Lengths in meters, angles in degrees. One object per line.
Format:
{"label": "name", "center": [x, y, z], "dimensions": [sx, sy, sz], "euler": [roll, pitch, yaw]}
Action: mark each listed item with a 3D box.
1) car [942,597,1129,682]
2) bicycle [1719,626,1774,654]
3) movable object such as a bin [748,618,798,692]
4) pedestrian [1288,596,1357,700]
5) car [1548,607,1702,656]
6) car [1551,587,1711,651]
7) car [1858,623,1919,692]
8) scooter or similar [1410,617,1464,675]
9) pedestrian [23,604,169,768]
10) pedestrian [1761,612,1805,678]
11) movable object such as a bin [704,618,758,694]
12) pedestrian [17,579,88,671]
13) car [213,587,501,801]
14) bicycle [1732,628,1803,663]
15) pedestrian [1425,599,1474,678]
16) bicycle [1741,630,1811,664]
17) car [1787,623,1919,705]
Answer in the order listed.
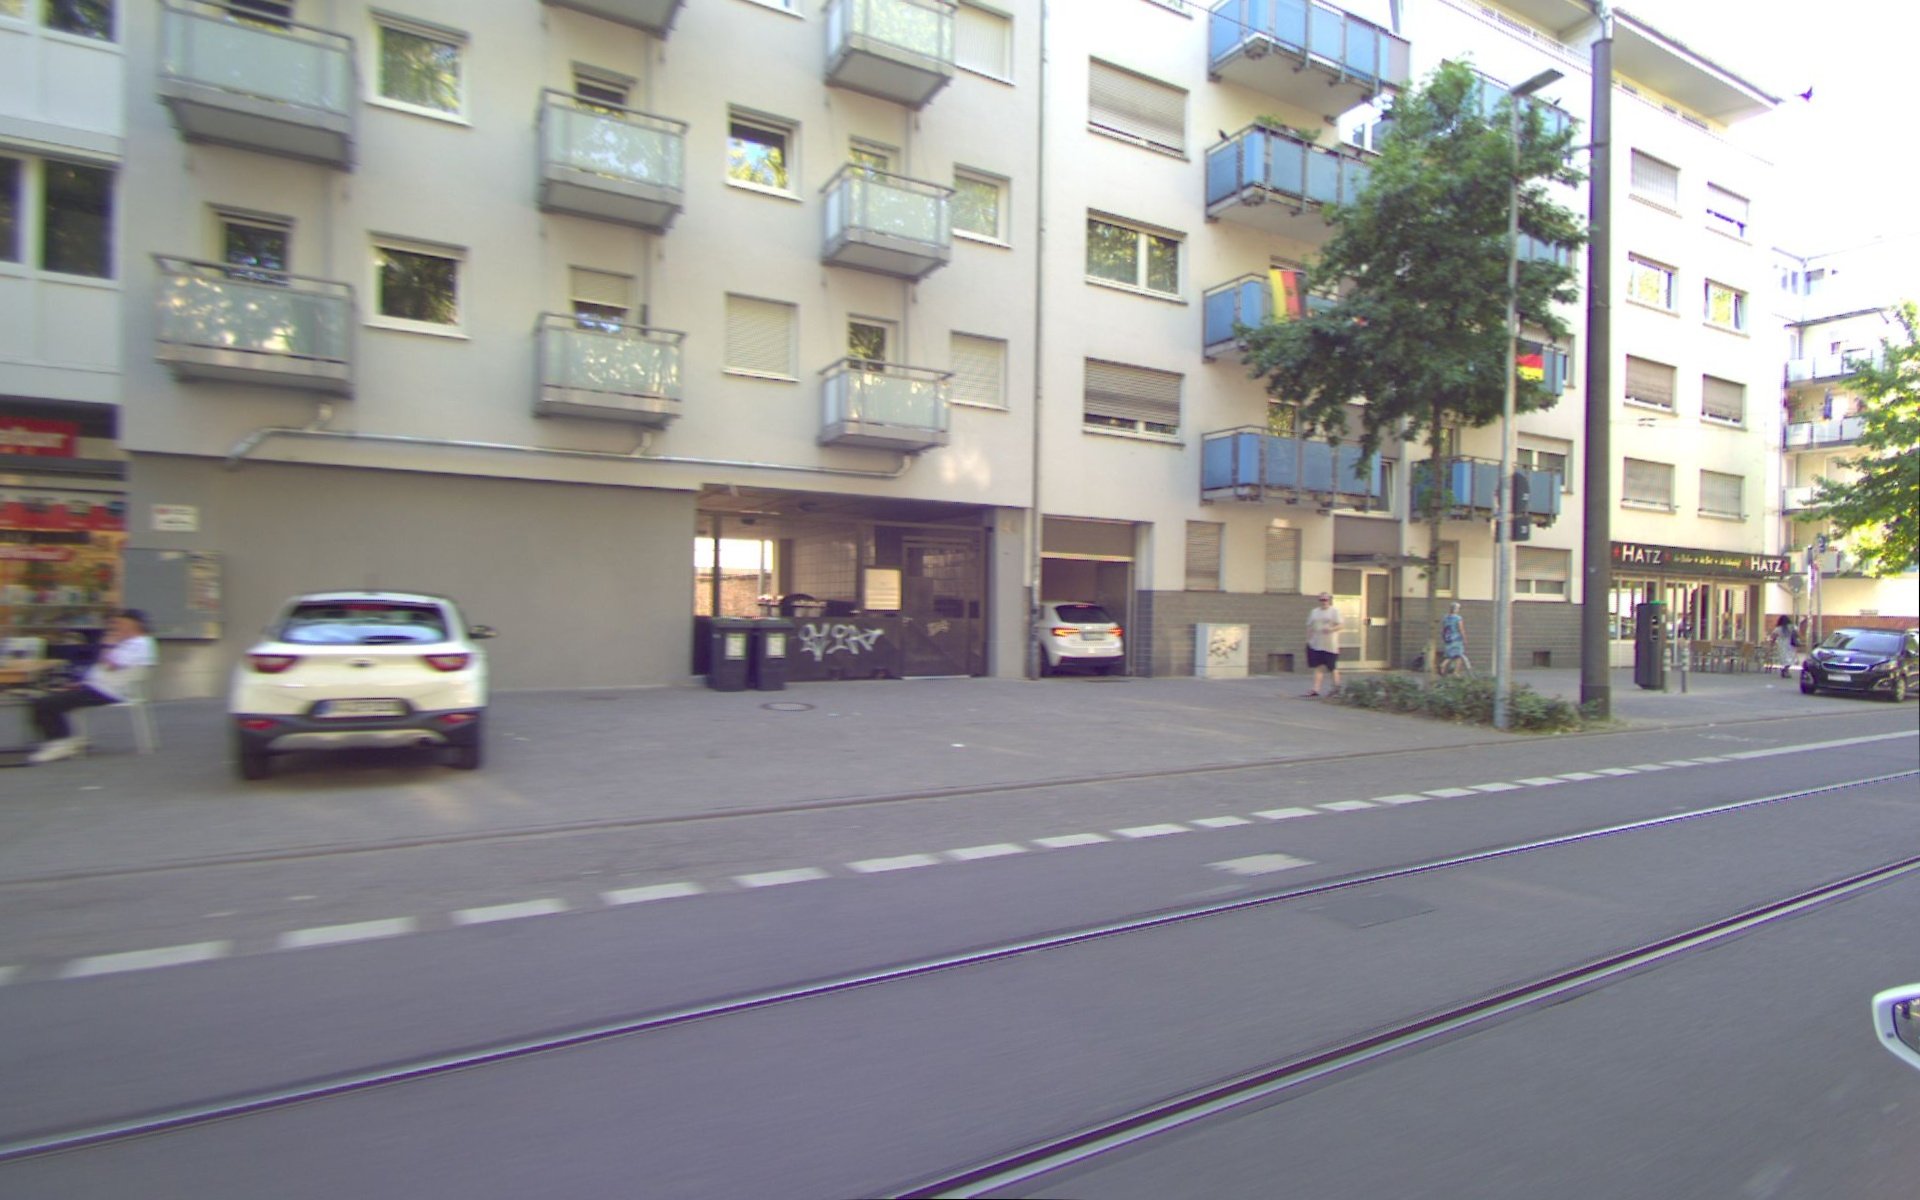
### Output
{"label": "car", "center": [1.427, 0.735, 20.582], "dimensions": [1.831, 1.495, 3.991], "euler": [2, 0, -31]}
{"label": "bicycle", "center": [32.974, 1.679, 42.138], "dimensions": [0.576, 1.172, 1.744], "euler": [1, -2, -24]}
{"label": "movable object such as a bin", "center": [-2.795, 0.808, 14.994], "dimensions": [0.567, 1.069, 0.670], "euler": [1, -1, -27]}
{"label": "pedestrian", "center": [6.145, 0.797, 17.050], "dimensions": [0.785, 1.713, 0.760], "euler": [1, 0, -31]}
{"label": "car", "center": [27.080, 1.236, 41.070], "dimensions": [2.017, 1.846, 4.846], "euler": [1, -1, -33]}
{"label": "car", "center": [30.717, 0.854, 46.221], "dimensions": [2.145, 2.760, 5.779], "euler": [1, 0, -30]}
{"label": "car", "center": [23.463, 1.383, 24.125], "dimensions": [4.330, 1.484, 1.703], "euler": [2, 3, -34]}
{"label": "scooter or similar", "center": [10.948, 1.055, 23.047], "dimensions": [1.219, 1.306, 0.374], "euler": [1, -2, -22]}
{"label": "pedestrian", "center": [-7.405, 0.697, 8.620], "dimensions": [0.905, 1.314, 0.705], "euler": [1, -1, -43]}
{"label": "pedestrian", "center": [21.640, 1.173, 26.405], "dimensions": [0.740, 1.713, 0.660], "euler": [1, 0, -31]}
{"label": "movable object such as a bin", "center": [-3.346, 0.804, 14.684], "dimensions": [0.614, 1.069, 0.675], "euler": [1, -1, -27]}
{"label": "pedestrian", "center": [-12.337, 0.342, 13.669], "dimensions": [0.556, 1.214, 0.510], "euler": [1, -1, -24]}
{"label": "car", "center": [-5.334, 0.669, 9.318], "dimensions": [1.827, 1.495, 3.998], "euler": [2, 0, -26]}
{"label": "bicycle", "center": [28.198, 1.590, 35.110], "dimensions": [0.562, 1.172, 1.945], "euler": [1, -2, -15]}
{"label": "pedestrian", "center": [10.760, 0.833, 22.094], "dimensions": [0.740, 1.713, 0.660], "euler": [1, 0, -31]}
{"label": "bicycle", "center": [28.589, 1.634, 35.224], "dimensions": [0.562, 1.172, 1.945], "euler": [1, -2, -15]}
{"label": "car", "center": [19.563, 1.314, 21.665], "dimensions": [3.962, 1.484, 1.701], "euler": [1, 3, -37]}
